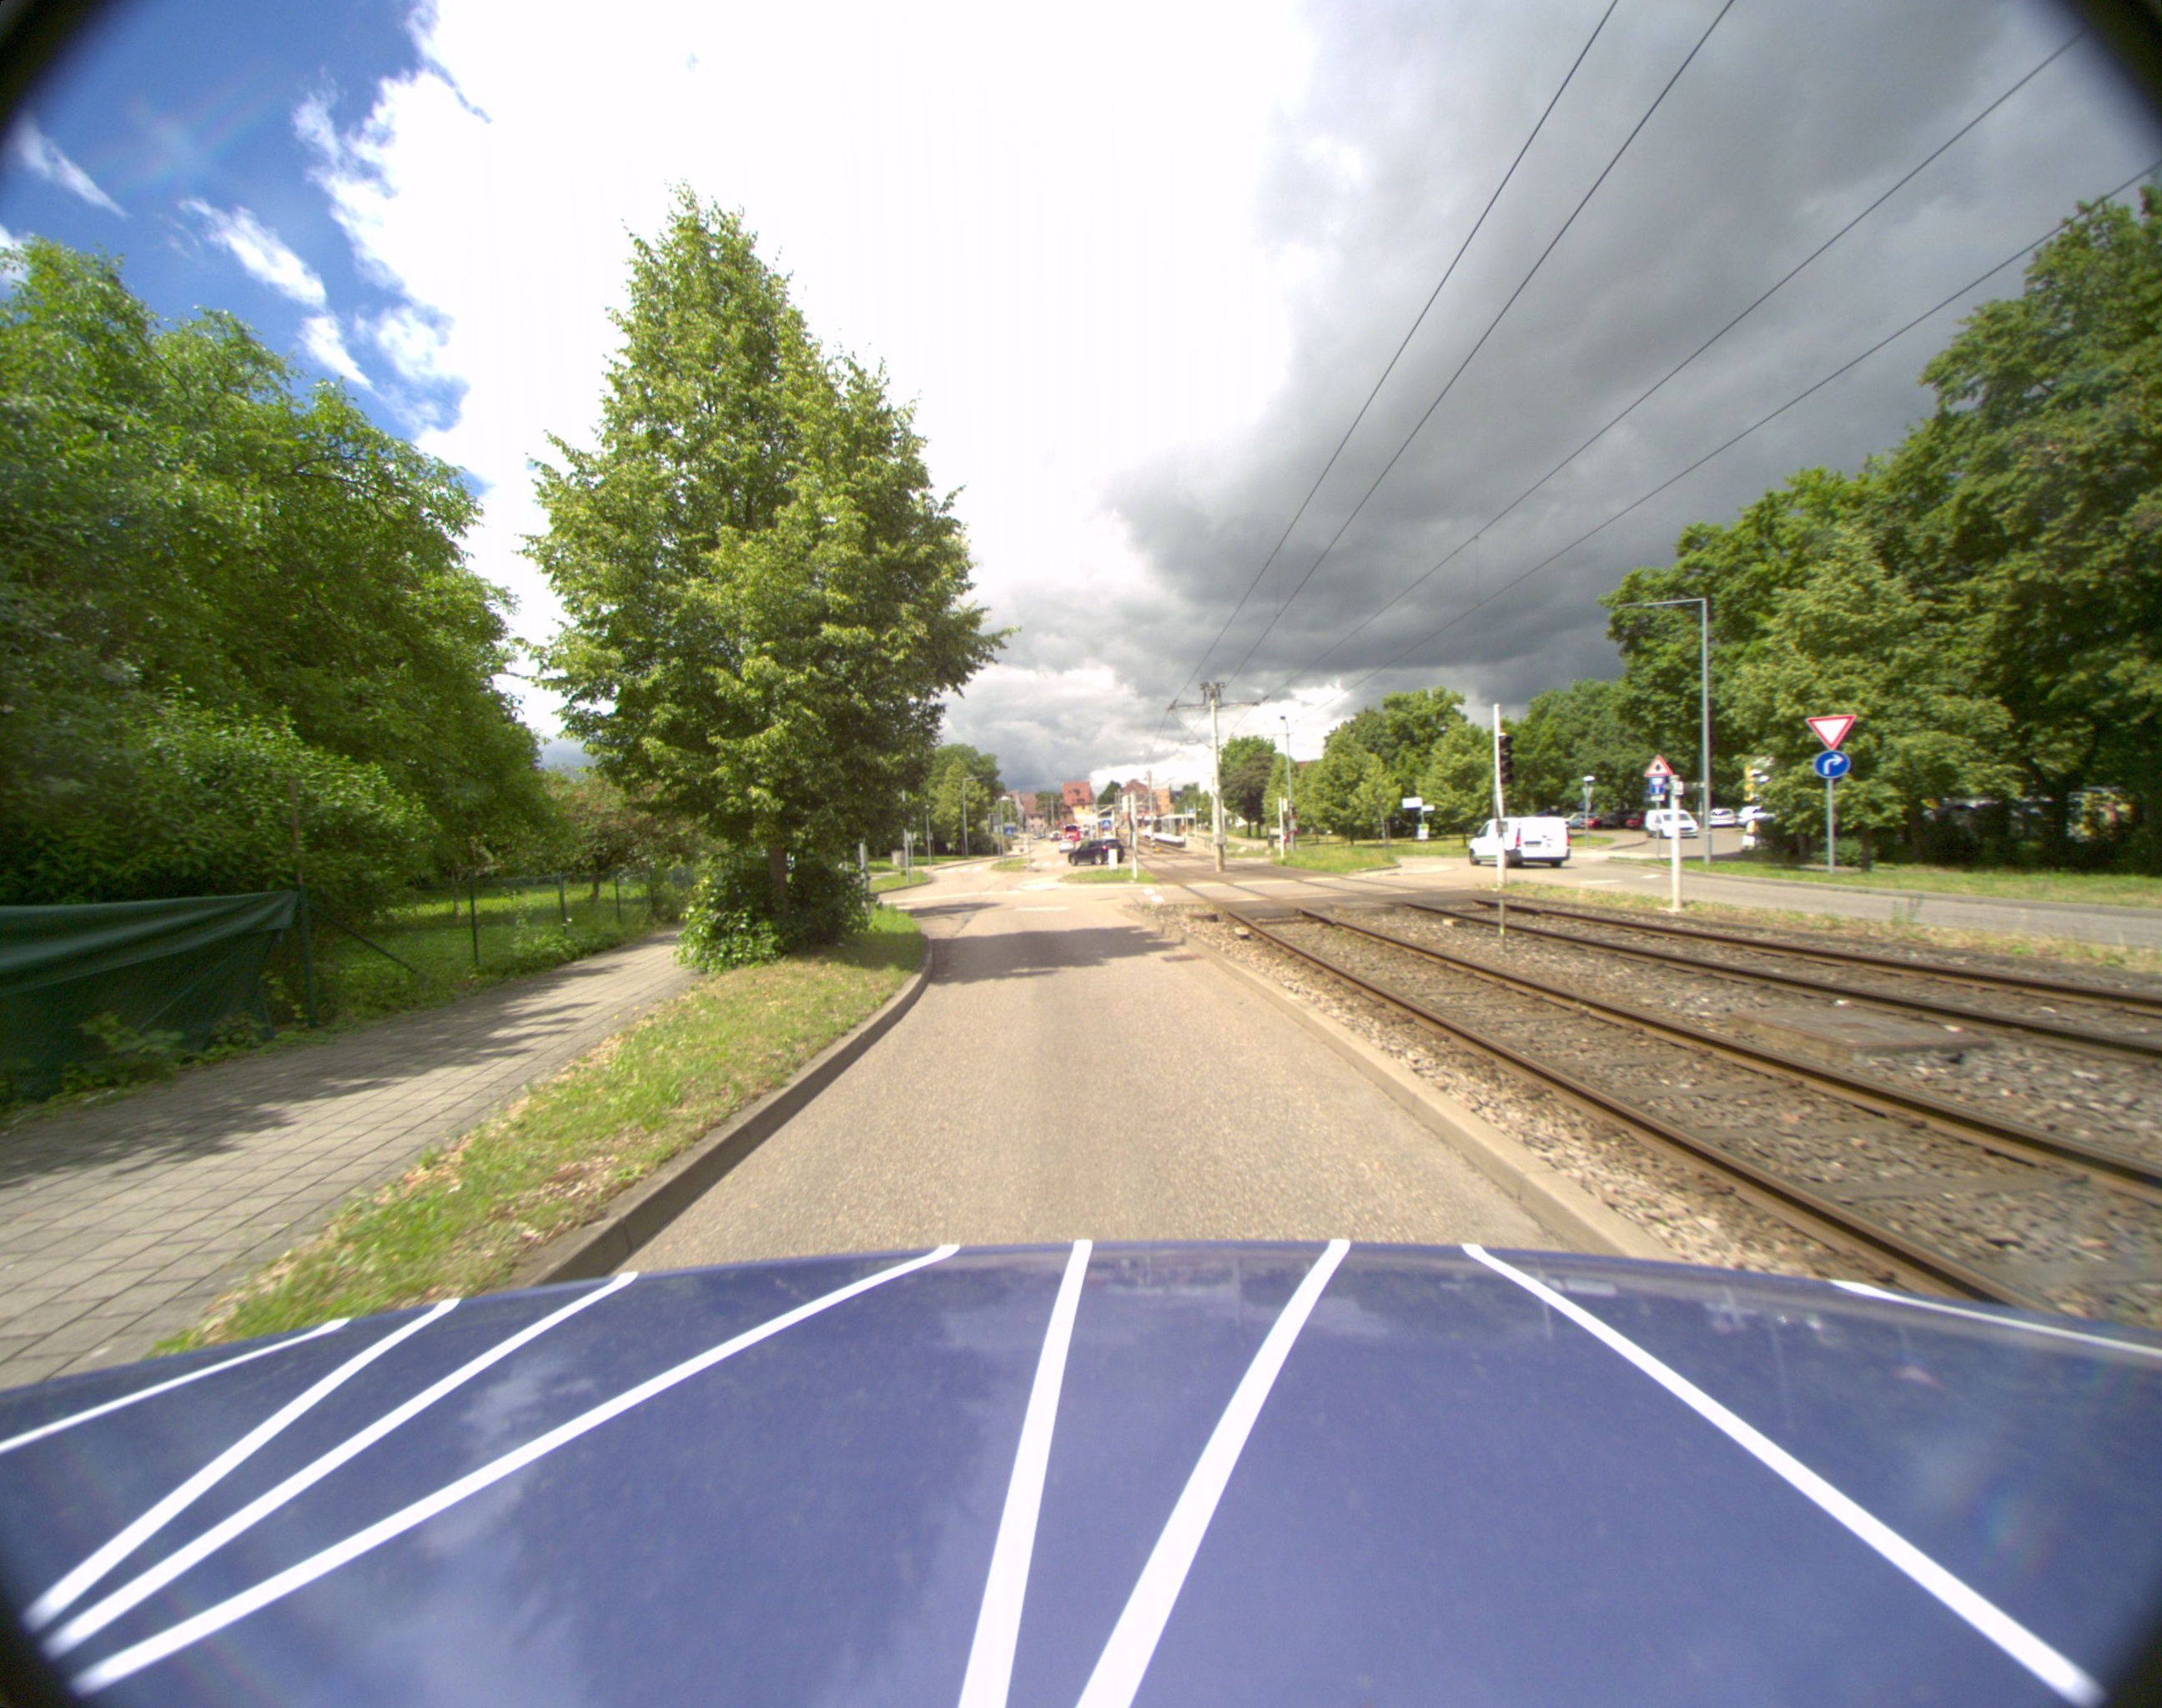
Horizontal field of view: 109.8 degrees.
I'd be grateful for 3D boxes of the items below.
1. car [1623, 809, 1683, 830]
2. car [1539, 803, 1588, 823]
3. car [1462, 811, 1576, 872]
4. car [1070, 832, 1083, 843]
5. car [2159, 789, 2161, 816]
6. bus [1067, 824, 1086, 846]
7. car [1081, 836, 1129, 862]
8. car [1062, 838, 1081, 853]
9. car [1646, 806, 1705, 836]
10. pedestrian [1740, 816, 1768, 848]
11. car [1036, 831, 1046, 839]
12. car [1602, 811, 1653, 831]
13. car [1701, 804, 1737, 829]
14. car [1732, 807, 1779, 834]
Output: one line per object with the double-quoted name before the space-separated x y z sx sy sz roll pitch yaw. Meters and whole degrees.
"car" 46.776 -2.807 62.169 3.615 1.581 1.629 -1 2 4
"car" 44.869 -3.761 70.744 1.593 1.631 3.900 -4 2 -11
"car" 16.561 -0.546 29.086 1.878 2.007 5.235 -4 2 8
"car" -0.627 -2.614 116.830 1.738 1.501 3.513 -4 2 2
"car" 56.667 -2.600 38.006 1.754 1.412 4.006 -3 2 32
"bus" -0.798 -3.560 141.971 2.923 3.864 10.377 -3 1 2
"car" 1.526 -0.329 50.201 1.860 1.576 4.318 -2 1 -17
"car" -1.068 -0.958 85.218 1.940 1.374 4.659 -4 2 1
"car" 37.554 -2.110 48.103 1.739 1.680 4.355 -3 2 21
"pedestrian" 32.763 -1.061 36.995 0.898 1.449 0.749 -6 3 -32
"car" -9.403 -4.459 178.490 1.998 1.849 3.999 -3 1 0
"car" 46.526 -2.839 64.695 3.621 1.581 1.626 -2 2 -14
"car" 48.041 -2.842 57.167 1.994 1.674 4.007 -1 2 41
"car" 45.909 -2.272 51.682 3.590 1.581 1.994 -7 5 -41
